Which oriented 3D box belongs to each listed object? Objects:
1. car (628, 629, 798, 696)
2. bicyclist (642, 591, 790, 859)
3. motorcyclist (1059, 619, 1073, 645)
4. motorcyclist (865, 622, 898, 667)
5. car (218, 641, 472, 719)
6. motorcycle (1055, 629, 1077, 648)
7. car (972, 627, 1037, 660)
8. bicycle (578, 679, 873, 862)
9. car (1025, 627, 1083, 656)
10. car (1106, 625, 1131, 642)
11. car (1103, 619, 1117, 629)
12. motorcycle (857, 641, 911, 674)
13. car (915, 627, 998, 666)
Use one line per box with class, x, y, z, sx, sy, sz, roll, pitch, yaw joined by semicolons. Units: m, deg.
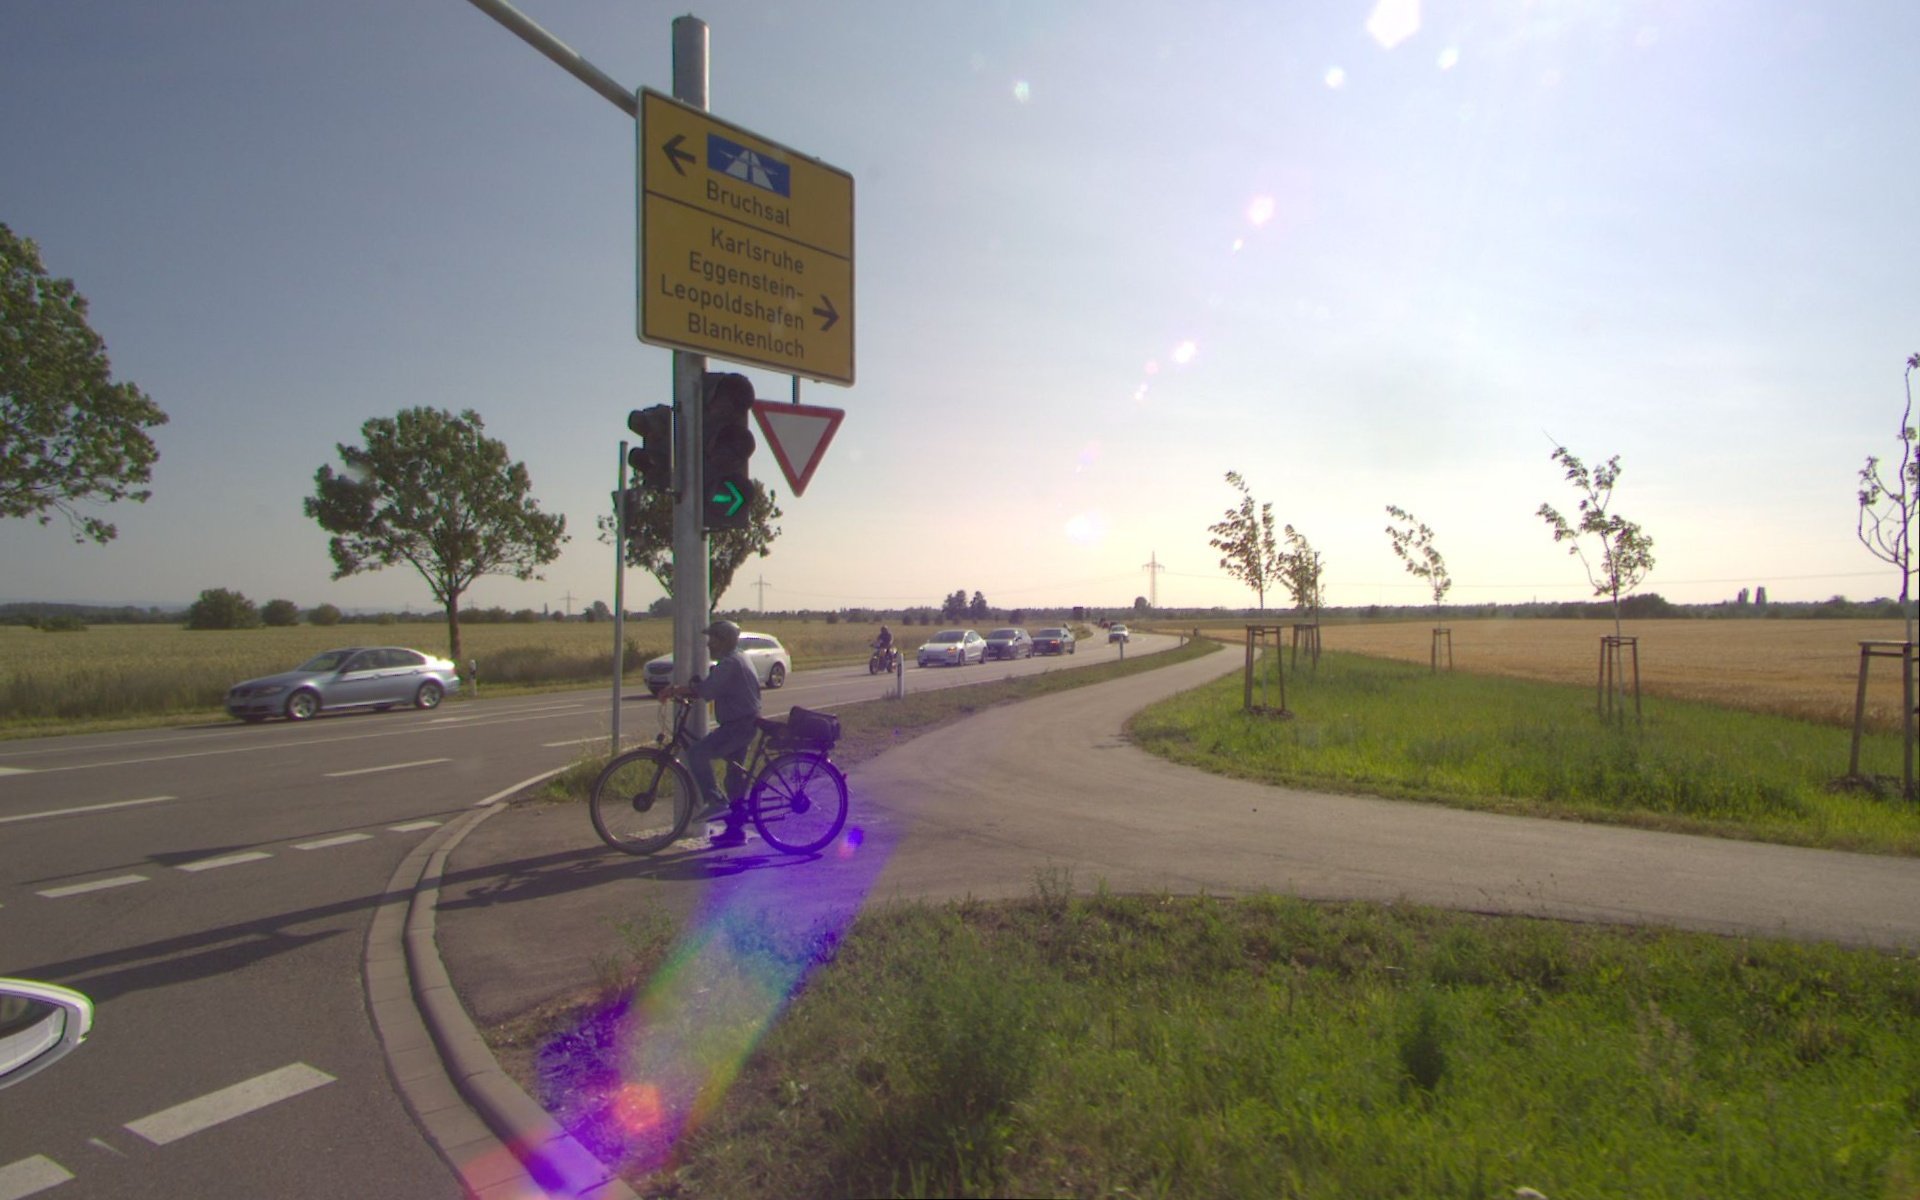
car;-6.210;1.547;25.787;1.736;1.511;4.695;-2;-2;24
bicyclist;-1.747;0.875;7.138;0.902;1.787;0.619;3;-3;-18
motorcyclist;6.282;1.890;59.376;0.668;1.514;0.845;-1;-1;21
motorcyclist;-2.704;1.526;34.650;0.669;1.535;1.178;-1;-1;23
car;-12.853;1.630;21.258;1.608;1.394;4.408;-3;-2;25
motorcycle;6.291;2.264;59.443;0.858;1.087;1.965;-1;-1;20
car;2.201;2.058;47.978;1.863;1.479;4.297;-1;-2;21
bicycle;-1.652;1.190;7.141;1.912;1.165;0.680;3;-3;-18
car;5.142;2.225;54.348;1.864;1.454;4.786;-1;-2;22
car;13.722;2.886;86.593;1.661;1.421;3.996;-2;-2;16
car;29.983;4.855;200.357;1.810;1.857;4.467;2;-1;-2
motorcycle;-2.630;1.976;34.880;0.884;1.057;2.423;-1;-1;22
car;-0.070;1.892;41.265;1.865;1.485;4.264;-1;-2;24
